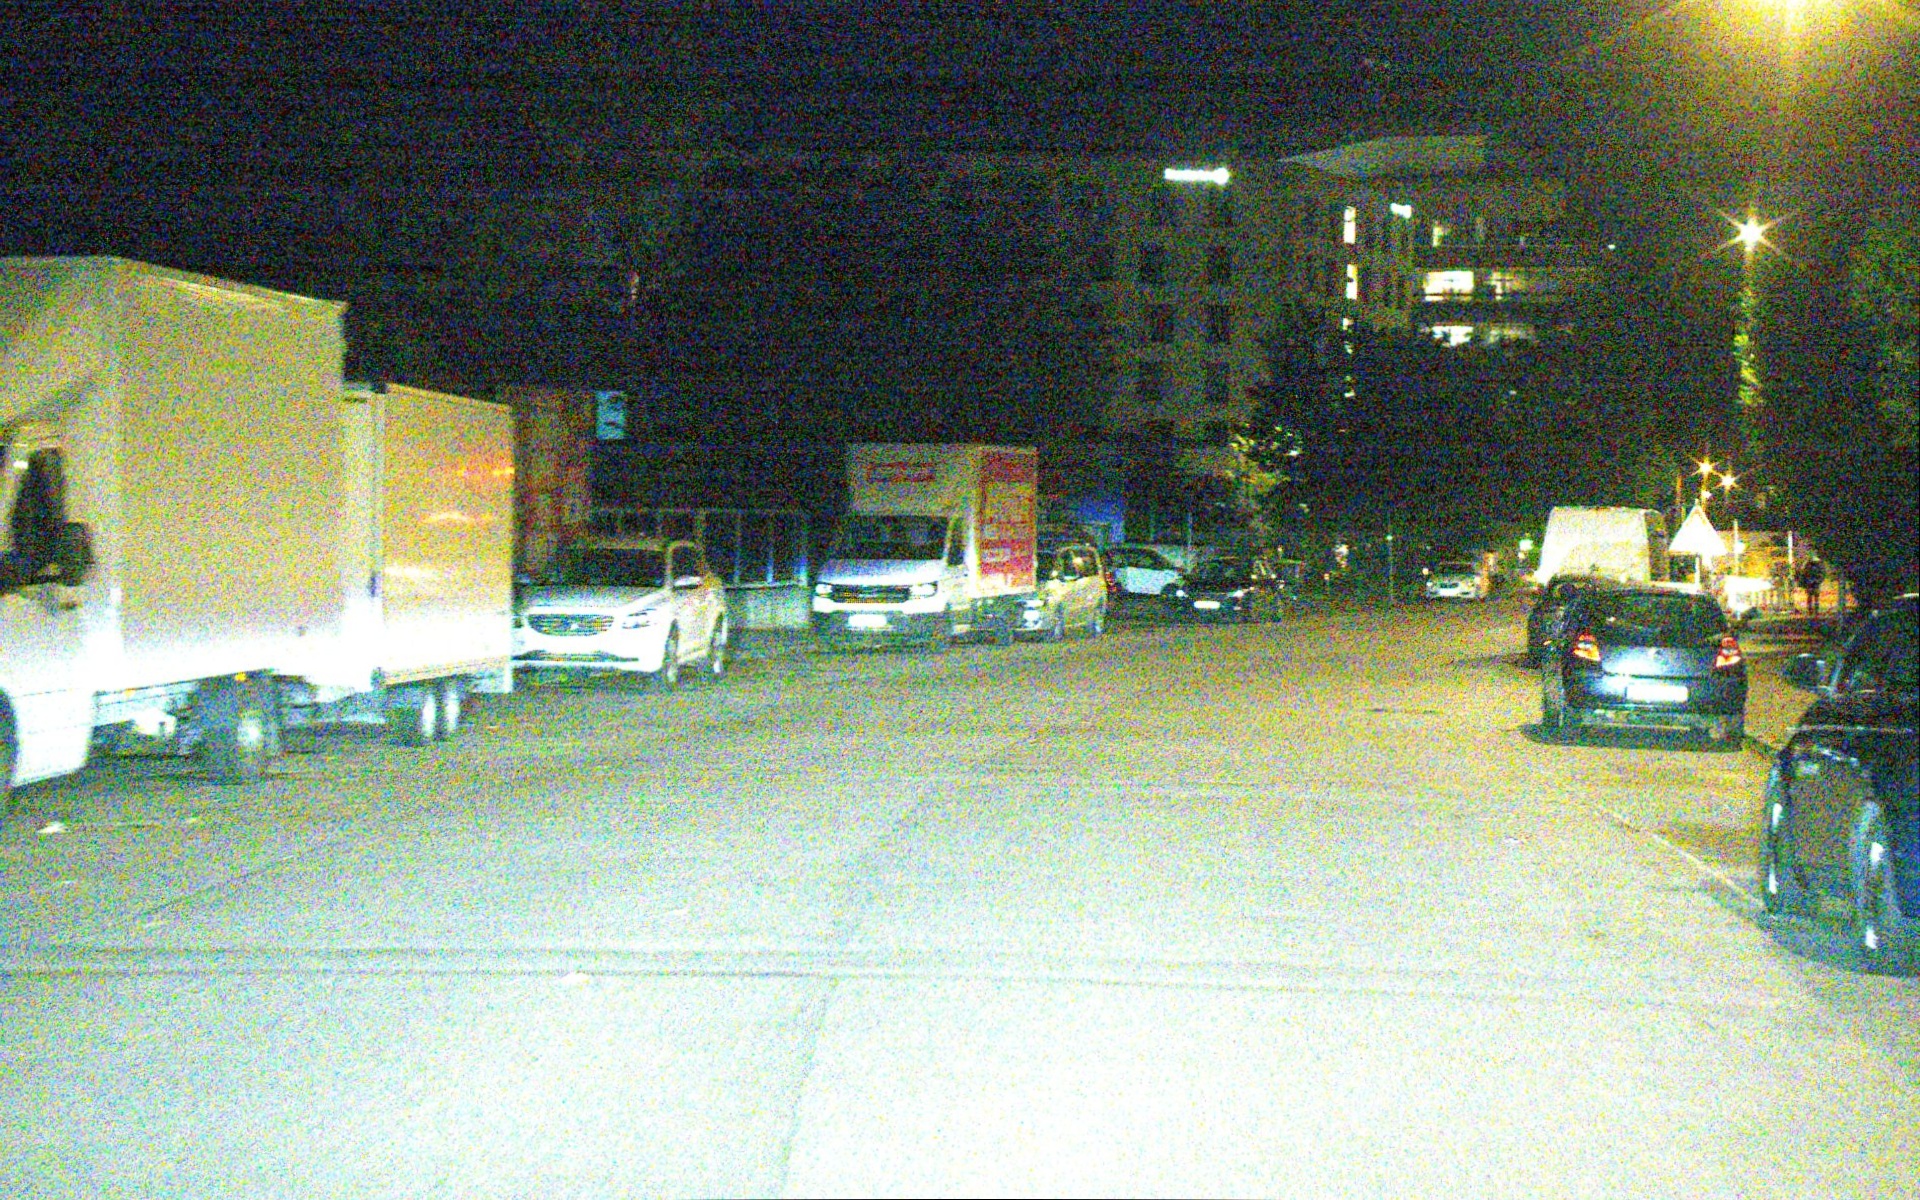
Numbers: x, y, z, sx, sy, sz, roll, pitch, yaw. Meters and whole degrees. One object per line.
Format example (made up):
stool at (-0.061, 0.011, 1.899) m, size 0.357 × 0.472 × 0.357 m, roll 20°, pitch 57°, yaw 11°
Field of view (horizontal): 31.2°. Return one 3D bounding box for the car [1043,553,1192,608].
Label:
car at (4.568, -0.586, 99.278) m, size 3.990 × 1.565 × 1.816 m, roll 0°, pitch 1°, yaw 16°

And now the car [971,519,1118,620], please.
car at (2.059, -0.733, 81.821) m, size 1.995 × 2.313 × 4.962 m, roll -1°, pitch 0°, yaw 20°

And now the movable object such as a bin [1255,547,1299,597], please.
movable object such as a bin at (9.672, -0.866, 104.893) m, size 1.165 × 1.490 × 1.065 m, roll 1°, pitch 1°, yaw 13°

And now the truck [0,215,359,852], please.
truck at (-5.751, -0.395, 20.434) m, size 2.373 × 3.232 × 7.230 m, roll 1°, pitch 1°, yaw 6°

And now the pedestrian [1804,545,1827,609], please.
pedestrian at (24.530, -0.663, 98.591) m, size 0.571 × 1.846 × 0.819 m, roll 1°, pitch 1°, yaw 17°

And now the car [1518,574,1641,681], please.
car at (9.503, 0.381, 52.553) m, size 1.711 × 1.503 × 4.638 m, roll 1°, pitch 1°, yaw 12°

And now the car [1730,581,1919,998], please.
car at (4.416, 0.734, 14.612) m, size 1.608 × 1.506 × 3.825 m, roll 3°, pitch 1°, yaw 4°

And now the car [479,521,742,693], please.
car at (-3.804, 0.040, 38.227) m, size 1.994 × 1.766 × 4.691 m, roll 1°, pitch 1°, yaw 6°

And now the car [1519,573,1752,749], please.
car at (6.407, 0.531, 32.978) m, size 1.711 × 1.503 × 3.999 m, roll 2°, pitch 1°, yaw 5°

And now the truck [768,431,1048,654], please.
truck at (-0.693, -0.909, 54.364) m, size 2.545 × 3.269 × 7.307 m, roll 1°, pitch 1°, yaw 15°

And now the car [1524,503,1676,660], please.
car at (11.153, -0.347, 59.613) m, size 2.022 × 2.518 × 6.047 m, roll 2°, pitch 1°, yaw 15°

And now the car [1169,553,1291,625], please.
car at (6.190, -0.232, 78.381) m, size 1.757 × 1.521 × 4.318 m, roll 3°, pitch 0°, yaw 18°

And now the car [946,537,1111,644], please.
car at (1.264, -0.198, 60.717) m, size 1.830 × 1.810 × 4.835 m, roll 0°, pitch 1°, yaw 15°

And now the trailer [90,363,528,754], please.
trailer at (-4.983, -0.340, 27.057) m, size 2.205 × 2.786 × 4.616 m, roll 1°, pitch 1°, yaw 5°

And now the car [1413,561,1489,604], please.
car at (16.680, -0.609, 116.601) m, size 1.913 × 1.399 × 4.334 m, roll 1°, pitch 1°, yaw 17°
